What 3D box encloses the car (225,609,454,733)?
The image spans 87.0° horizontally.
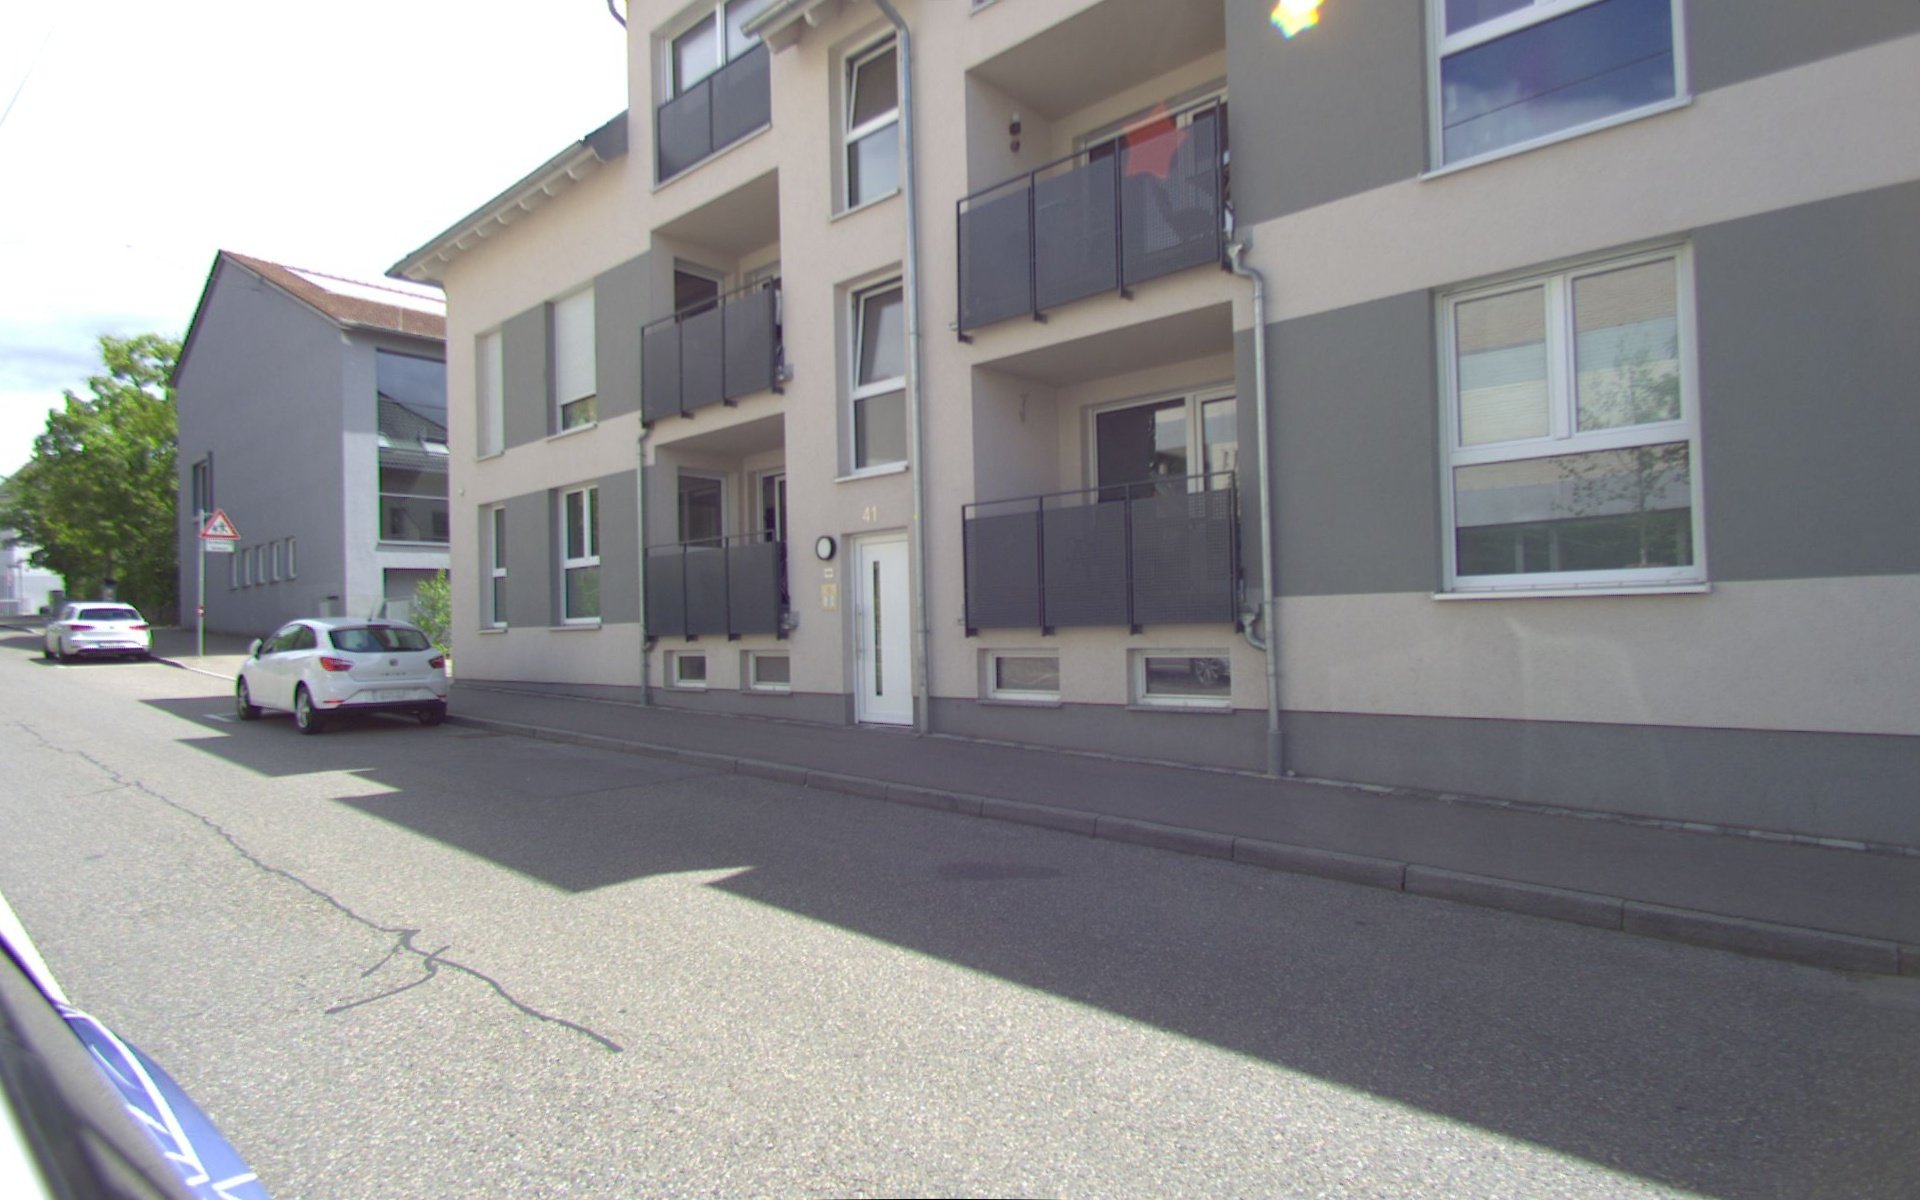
[{"bbox_3d":[-8.476,0.850,13.713,3.697,1.429,1.630,0,0,41],"label":"car"}]

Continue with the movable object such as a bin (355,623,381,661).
[{"bbox_3d":[-15.098,1.068,25.825,0.399,0.936,0.449,0,-1,40],"label":"movable object such as a bin"}]

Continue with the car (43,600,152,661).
[{"bbox_3d":[-21.727,0.752,25.449,3.866,1.401,1.678,-2,-2,43],"label":"car"}]

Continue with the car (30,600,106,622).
[{"bbox_3d":[-65.169,0.818,73.973,1.857,1.488,3.945,-4,-2,41],"label":"car"}]
